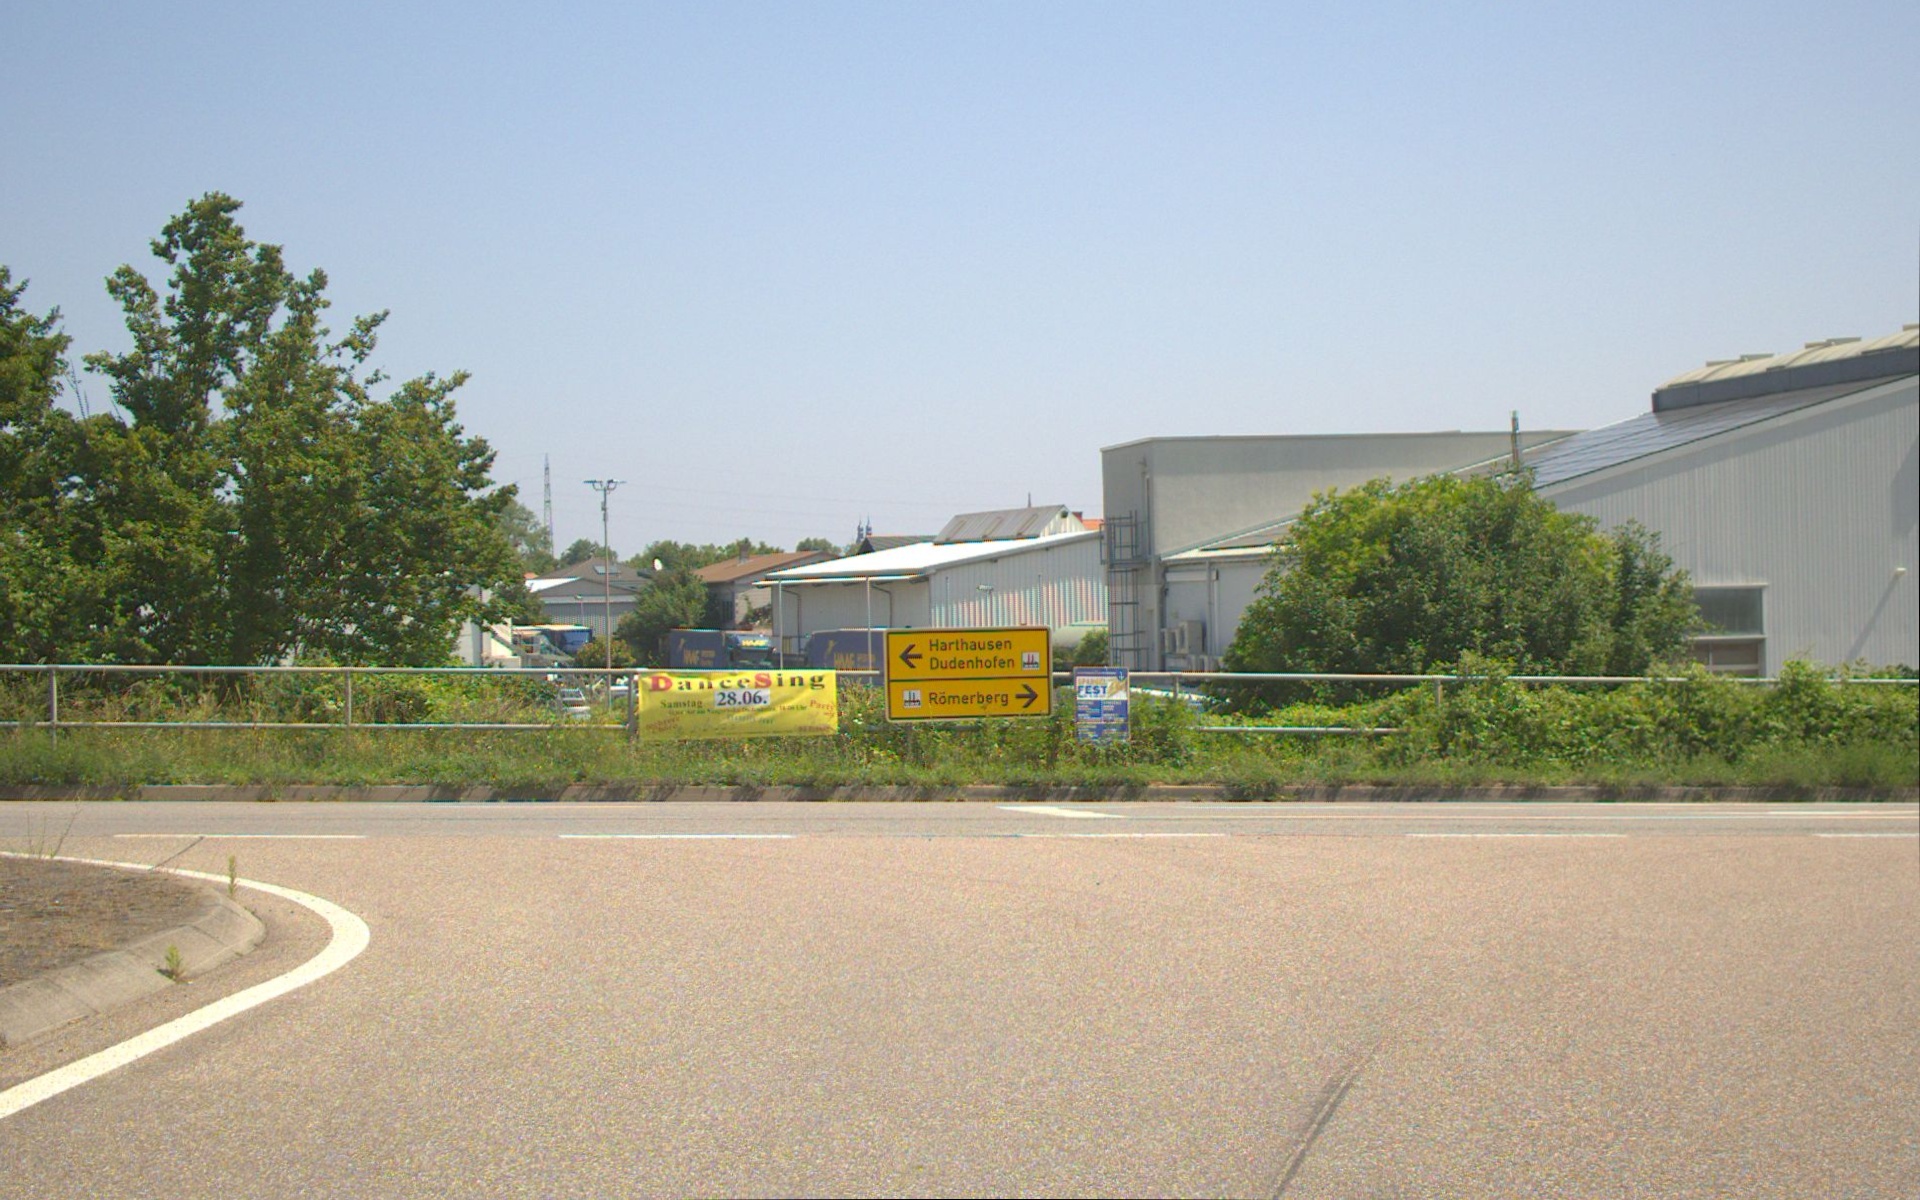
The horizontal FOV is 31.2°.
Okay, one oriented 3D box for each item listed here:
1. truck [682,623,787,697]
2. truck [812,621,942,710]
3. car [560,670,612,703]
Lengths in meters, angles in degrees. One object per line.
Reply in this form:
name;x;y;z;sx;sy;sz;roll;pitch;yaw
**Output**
truck;-13.711;3.582;207.462;3.410;4.296;14.596;0;-1;-15
truck;-4.316;3.284;174.332;3.707;4.296;13.345;0;-1;-14
car;-20.617;4.767;189.321;1.993;1.725;4.864;1;-1;-16
